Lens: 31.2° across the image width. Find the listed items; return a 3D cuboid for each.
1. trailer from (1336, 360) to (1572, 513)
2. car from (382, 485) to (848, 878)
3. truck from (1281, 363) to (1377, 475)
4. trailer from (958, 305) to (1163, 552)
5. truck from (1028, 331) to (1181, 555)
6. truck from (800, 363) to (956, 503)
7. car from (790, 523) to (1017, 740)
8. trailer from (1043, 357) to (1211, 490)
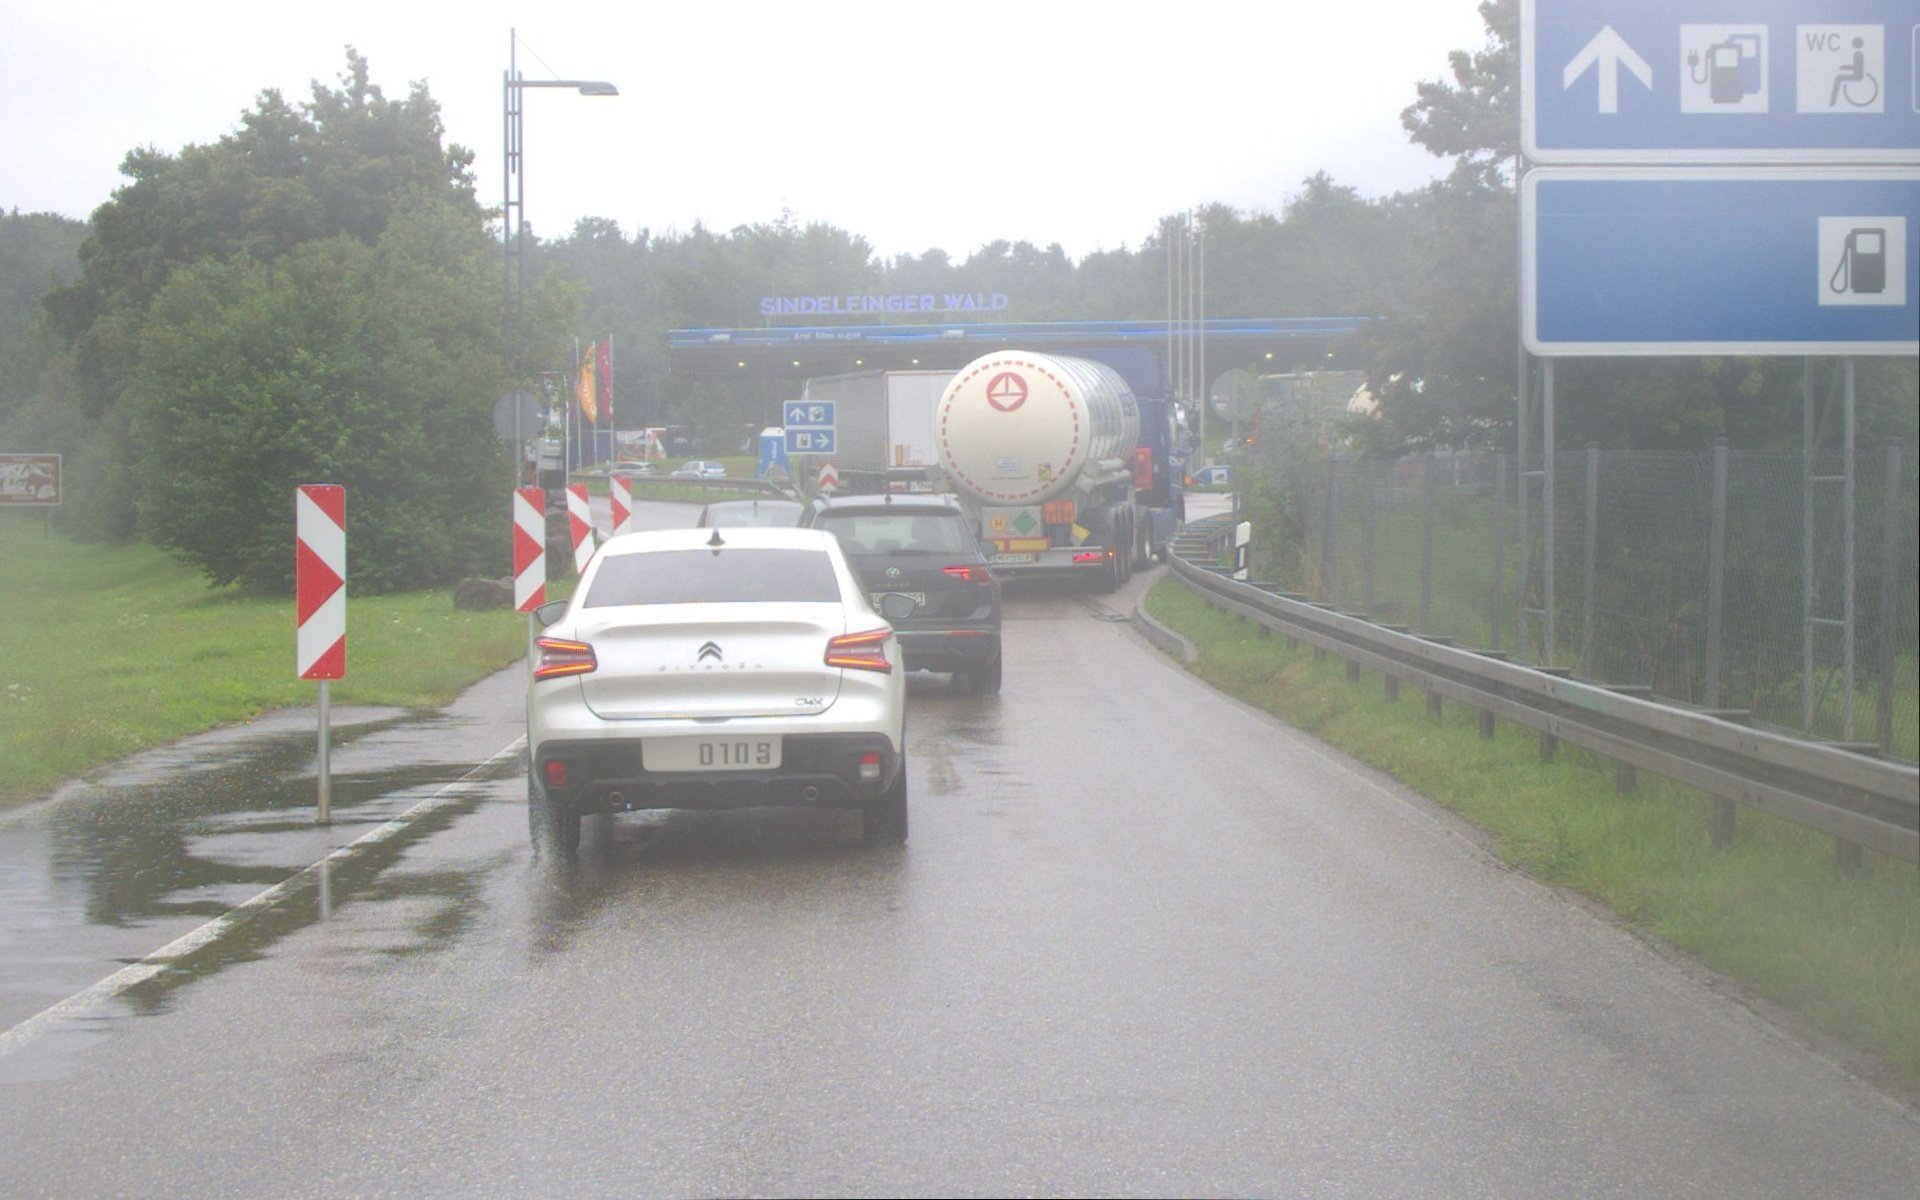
[{"bbox_3d":[11.921,-3.939,81.959,2.134,3.428,10.238,1,3,28],"label":"trailer"},{"bbox_3d":[-1.578,0.308,17.049,1.993,1.673,4.001,-1,1,-2],"label":"car"},{"bbox_3d":[12.823,-6.320,119.557,2.425,3.792,4.002,-2,4,-7],"label":"truck"},{"bbox_3d":[1.614,-2.500,50.240,1.981,3.213,10.320,0,3,7],"label":"trailer"},{"bbox_3d":[2.436,-2.590,56.694,2.053,3.518,4.745,0,3,8],"label":"truck"},{"bbox_3d":[-2.564,-4.982,102.111,2.370,3.860,12.460,-2,3,-11],"label":"truck"},{"bbox_3d":[-0.460,0.219,29.083,1.742,1.661,4.000,2,1,0],"label":"car"},{"bbox_3d":[5.425,-5.887,114.354,3.215,4.174,11.534,0,3,-9],"label":"trailer"}]
